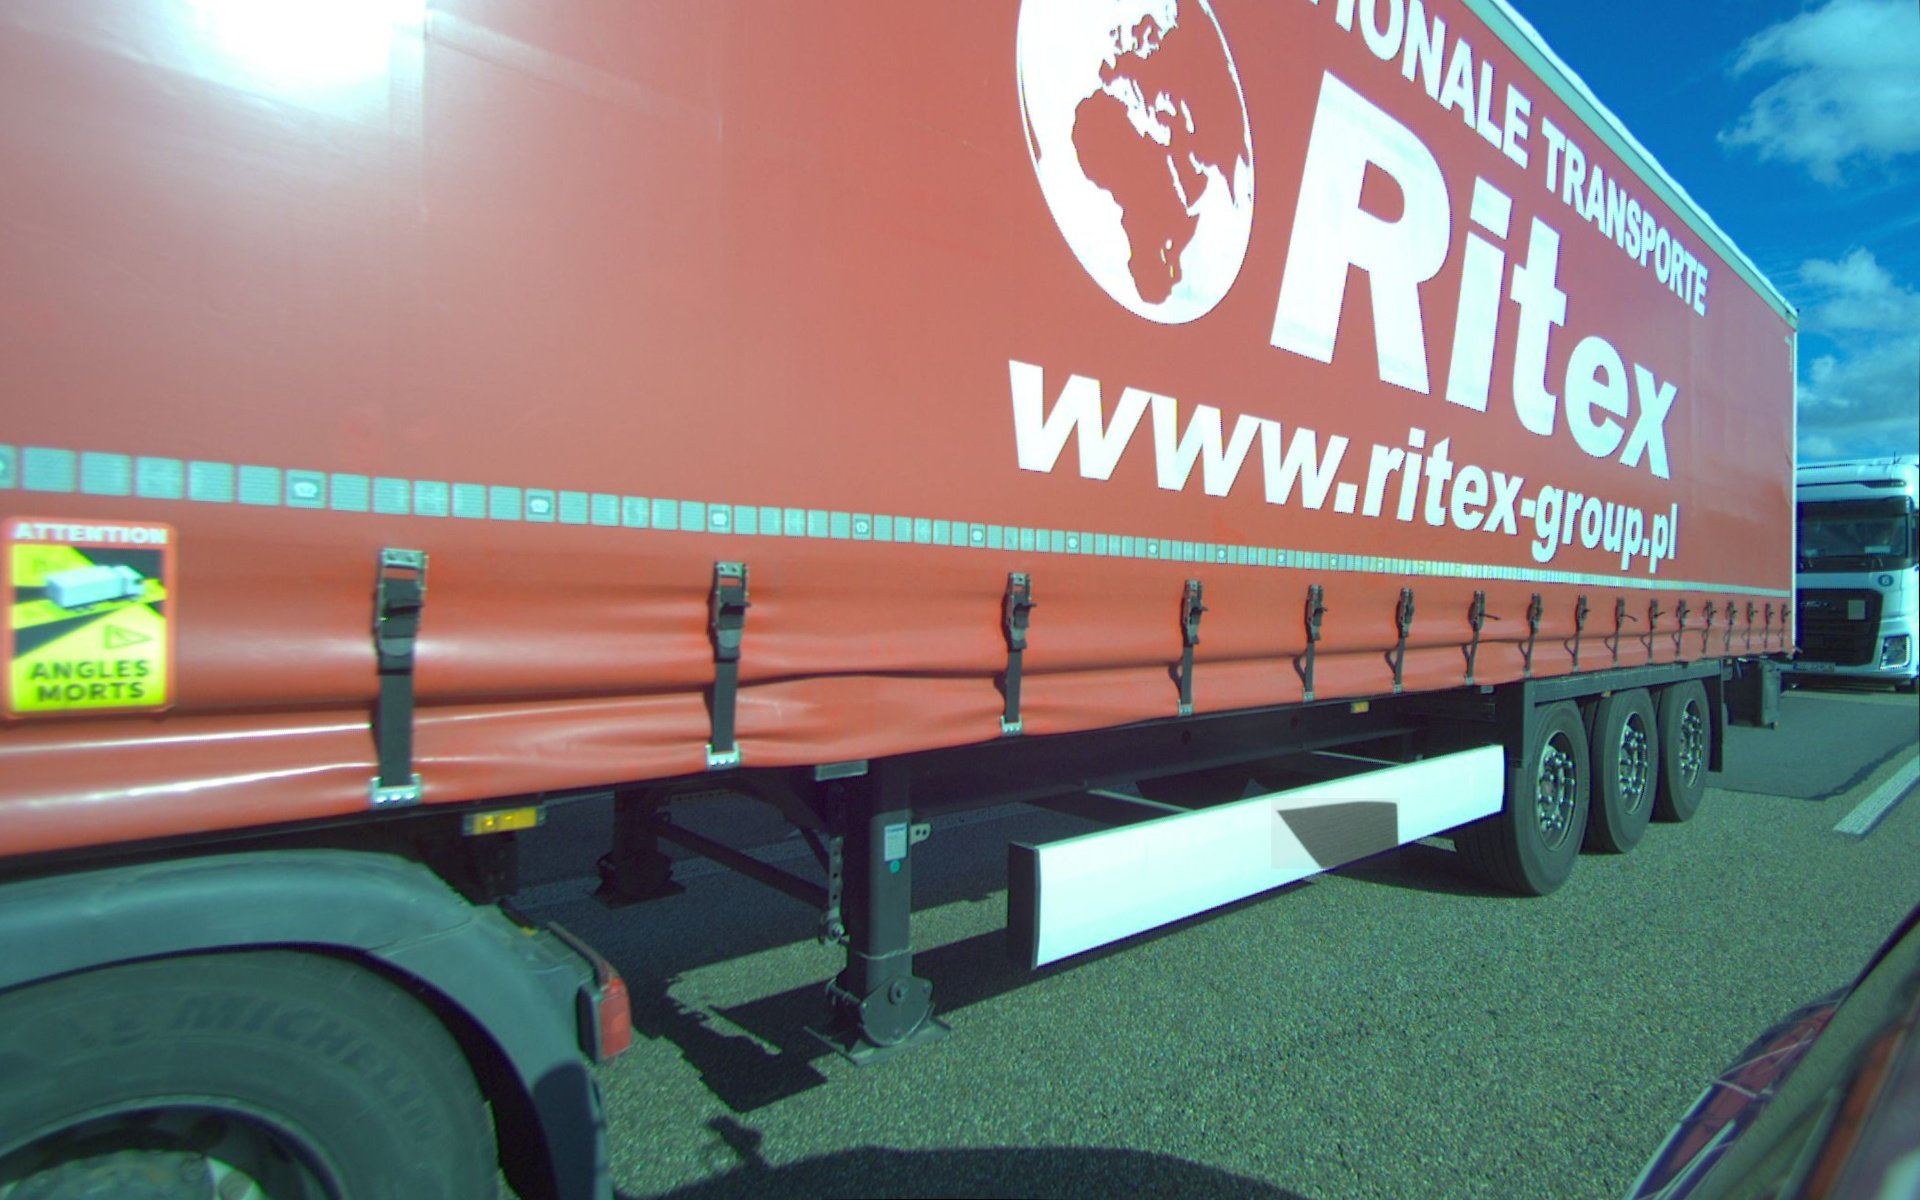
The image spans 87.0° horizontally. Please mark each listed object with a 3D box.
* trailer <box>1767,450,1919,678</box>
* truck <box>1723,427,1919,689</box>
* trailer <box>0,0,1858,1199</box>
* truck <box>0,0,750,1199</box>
[{"bbox_3d":[21.450,-0.666,22.940,13.132,4.051,2.622,0,0,-41],"label":"trailer"},{"bbox_3d":[16.261,-0.653,18.434,5.851,4.033,2.632,0,0,-41],"label":"truck"},{"bbox_3d":[1.579,-0.665,4.847,14.051,4.047,2.332,-1,1,-41],"label":"trailer"},{"bbox_3d":[-3.350,-0.645,0.506,5.999,4.071,2.369,0,1,-41],"label":"truck"}]
